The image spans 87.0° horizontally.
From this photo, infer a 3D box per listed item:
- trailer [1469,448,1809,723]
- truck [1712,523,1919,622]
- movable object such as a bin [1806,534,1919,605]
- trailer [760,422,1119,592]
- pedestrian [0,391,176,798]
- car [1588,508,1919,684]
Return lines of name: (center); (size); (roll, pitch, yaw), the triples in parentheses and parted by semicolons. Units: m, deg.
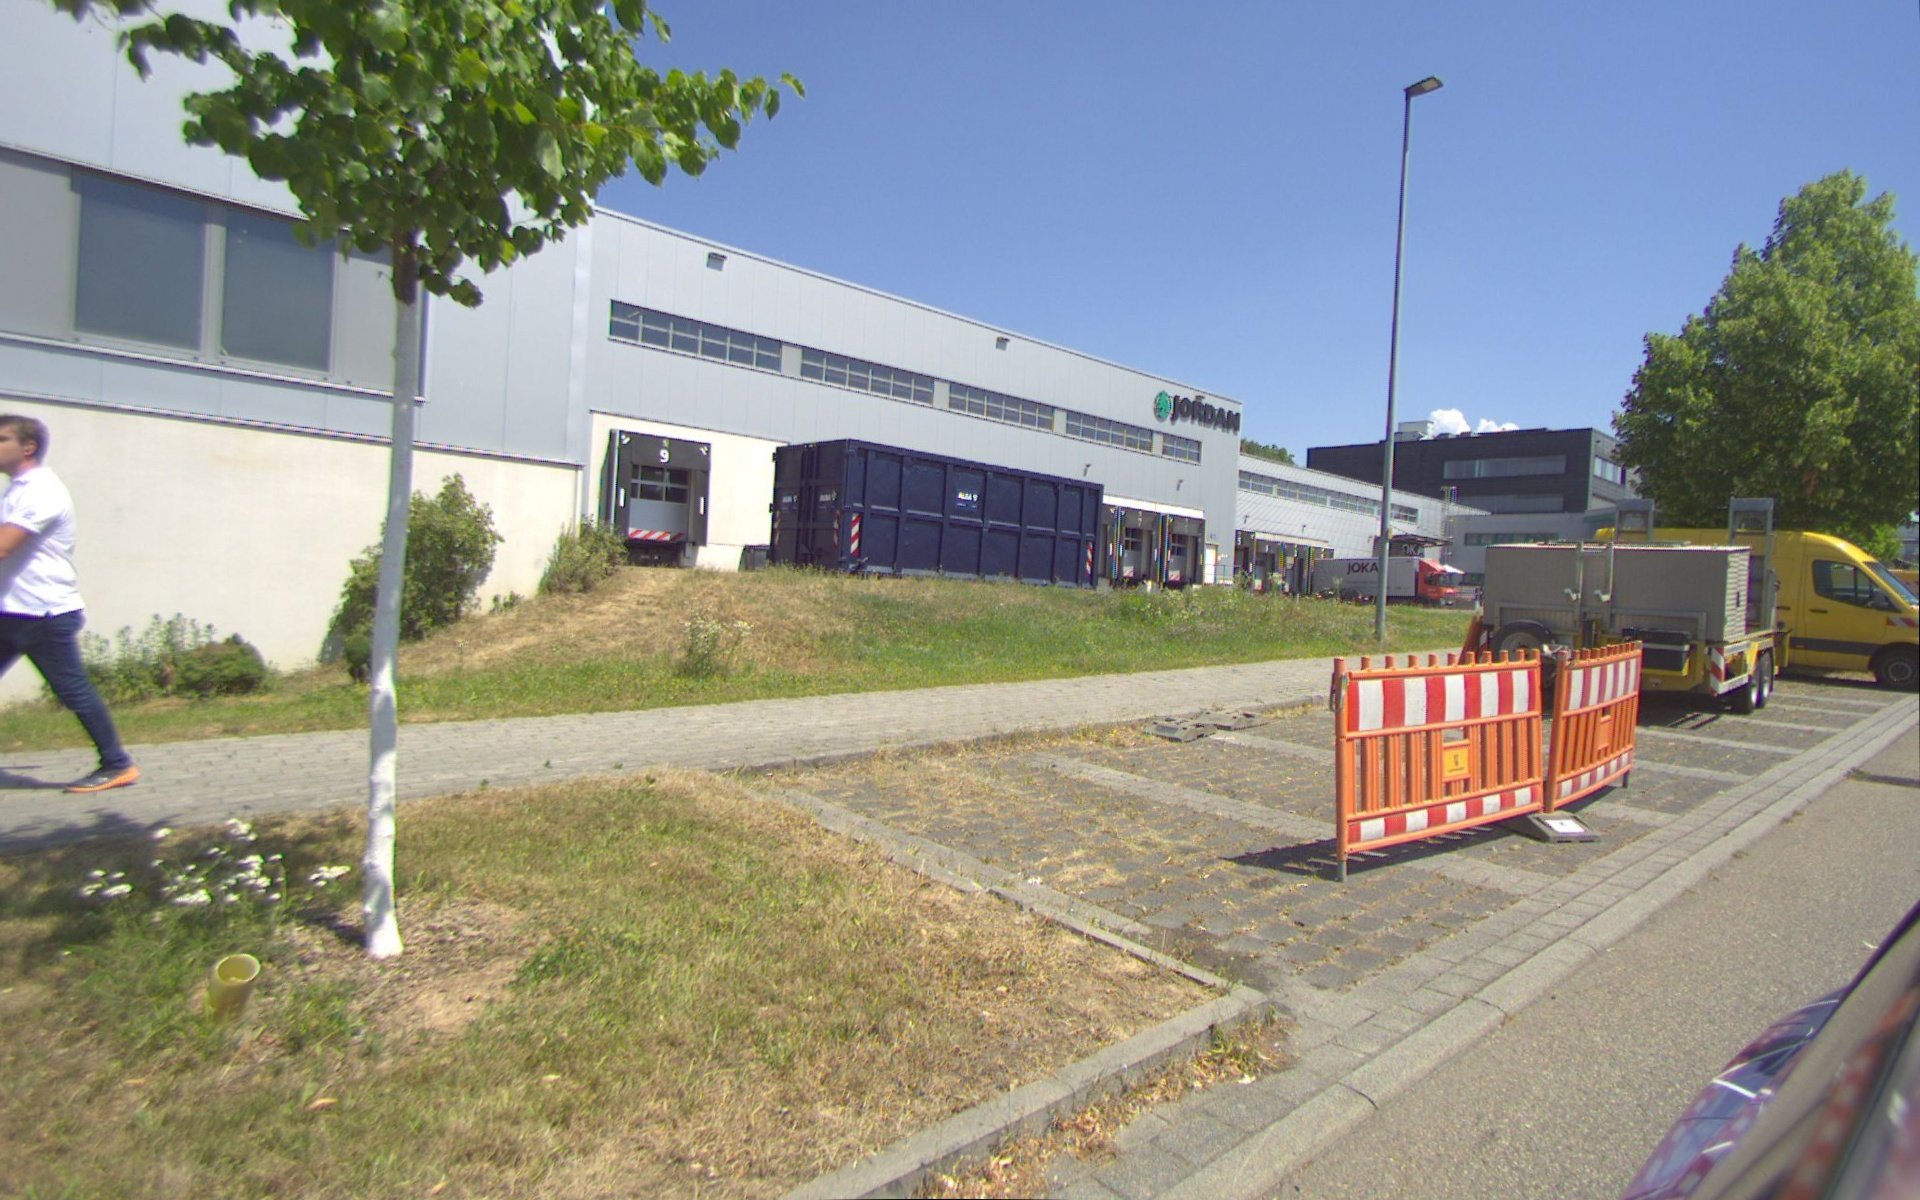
trailer: (9.233, -0.248, 13.531); (2.659, 2.891, 5.431); (5, 4, 45)
truck: (30.250, -1.034, 35.002); (2.554, 3.174, 6.408); (-2, 4, -45)
movable object such as a bin: (35.519, -1.186, 39.751); (6.455, 2.613, 2.000); (-1, 2, -37)
trailer: (-0.176, -1.651, 20.844); (7.281, 2.452, 2.664); (5, -2, -40)
pedestrian: (-4.832, -0.038, 5.051); (0.859, 1.913, 1.200); (2, 0, 33)
car: (14.947, -0.185, 18.178); (1.965, 2.765, 5.795); (0, 4, -40)
